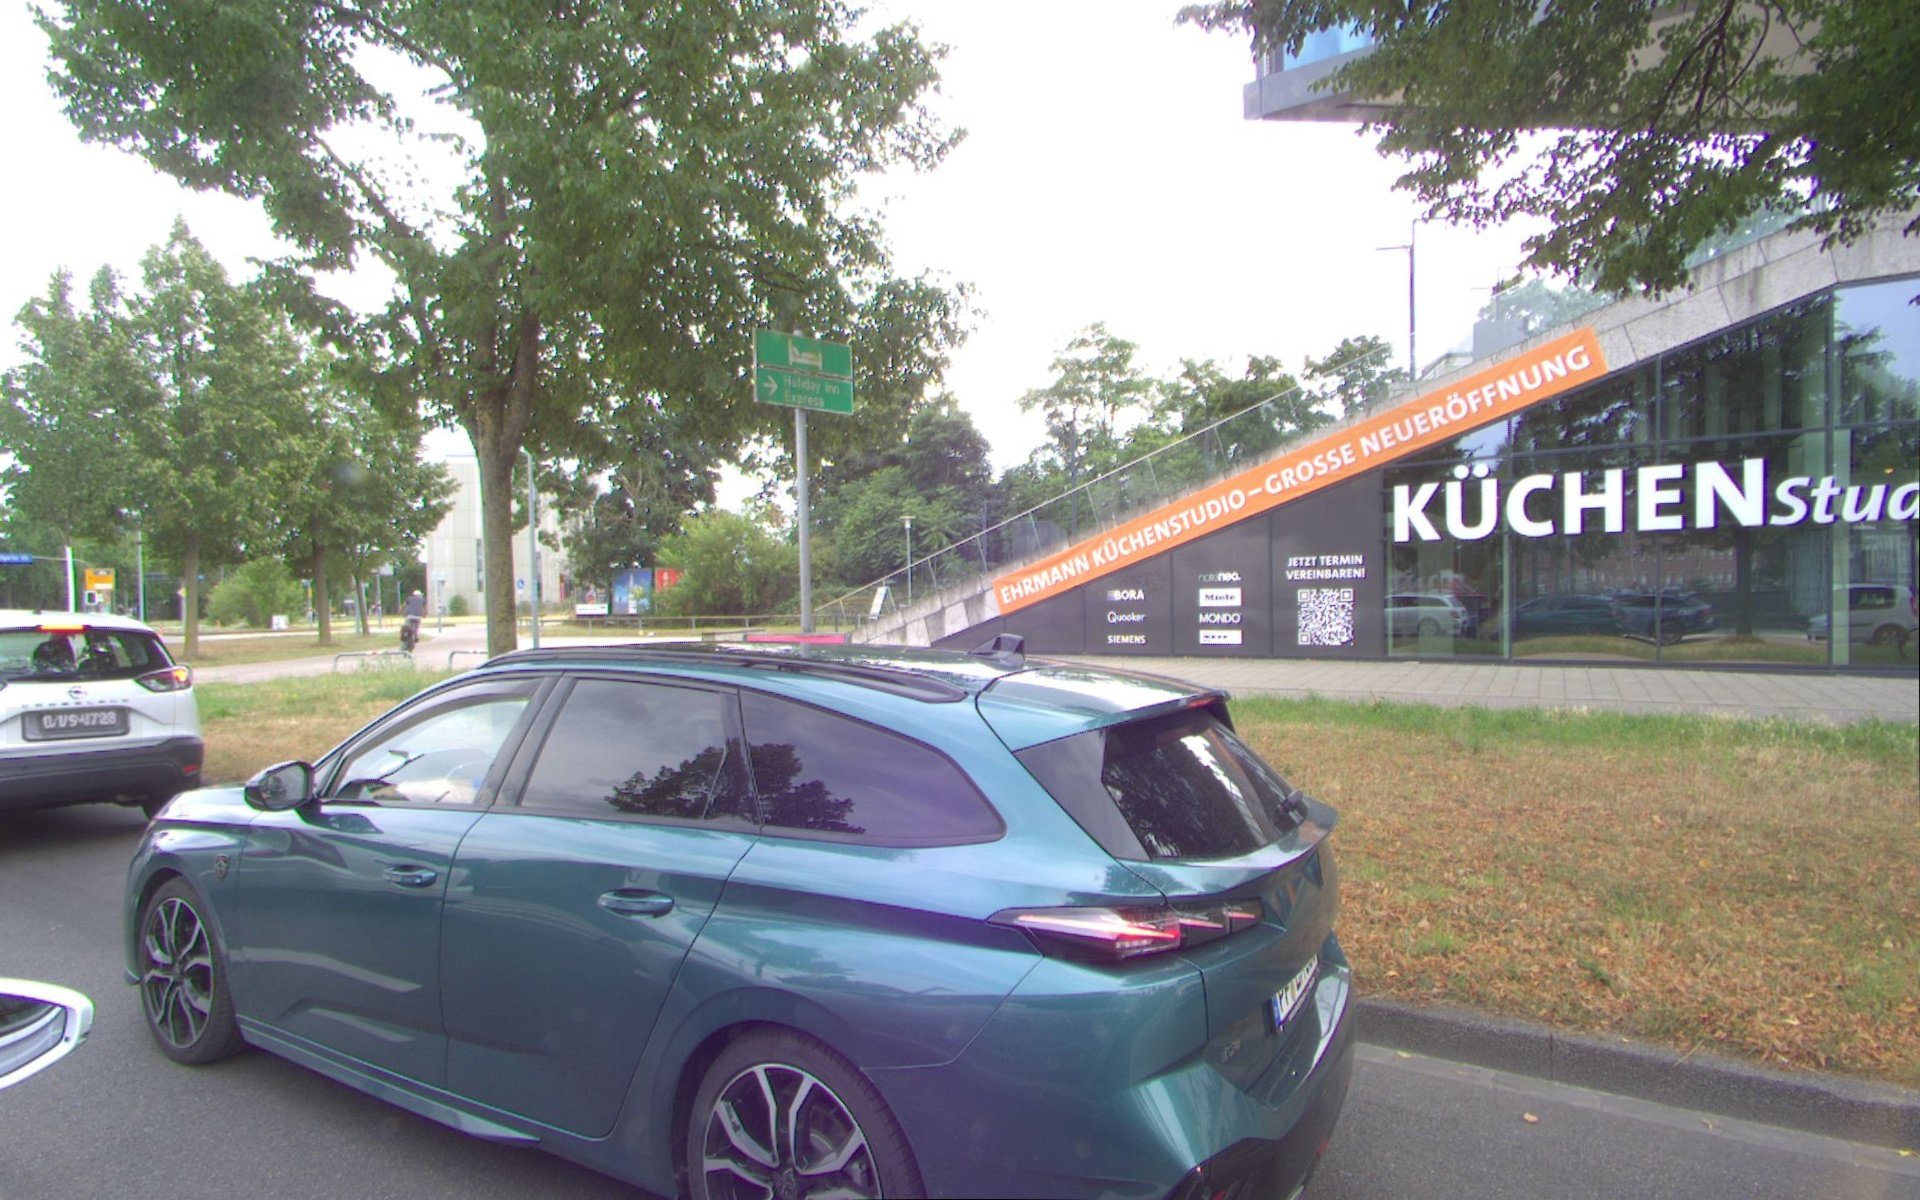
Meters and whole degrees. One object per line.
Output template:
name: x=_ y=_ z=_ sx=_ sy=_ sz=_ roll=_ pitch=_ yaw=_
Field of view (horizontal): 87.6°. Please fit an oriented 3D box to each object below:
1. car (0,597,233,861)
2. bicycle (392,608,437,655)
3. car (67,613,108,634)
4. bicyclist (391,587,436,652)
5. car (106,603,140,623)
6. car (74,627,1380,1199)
car: x=-7.414 y=0.817 z=7.599 sx=3.854 sy=1.646 sz=1.783 roll=0 pitch=0 yaw=33
bicycle: x=-15.207 y=0.855 z=27.868 sx=0.893 sy=1.251 sz=2.253 roll=-1 pitch=0 yaw=-34
car: x=-79.555 y=2.132 z=91.327 sx=1.971 sy=1.813 sz=3.982 roll=2 pitch=-2 yaw=-29
bicyclist: x=-15.223 y=0.537 z=27.888 sx=0.987 sy=1.760 sz=1.122 roll=-1 pitch=1 yaw=-34
car: x=-71.748 y=1.070 z=85.868 sx=1.765 sy=1.658 sz=4.373 roll=-1 pitch=0 yaw=-34
car: x=-0.956 y=0.838 z=3.403 sx=4.245 sy=1.450 sz=1.786 roll=0 pitch=-1 yaw=29
